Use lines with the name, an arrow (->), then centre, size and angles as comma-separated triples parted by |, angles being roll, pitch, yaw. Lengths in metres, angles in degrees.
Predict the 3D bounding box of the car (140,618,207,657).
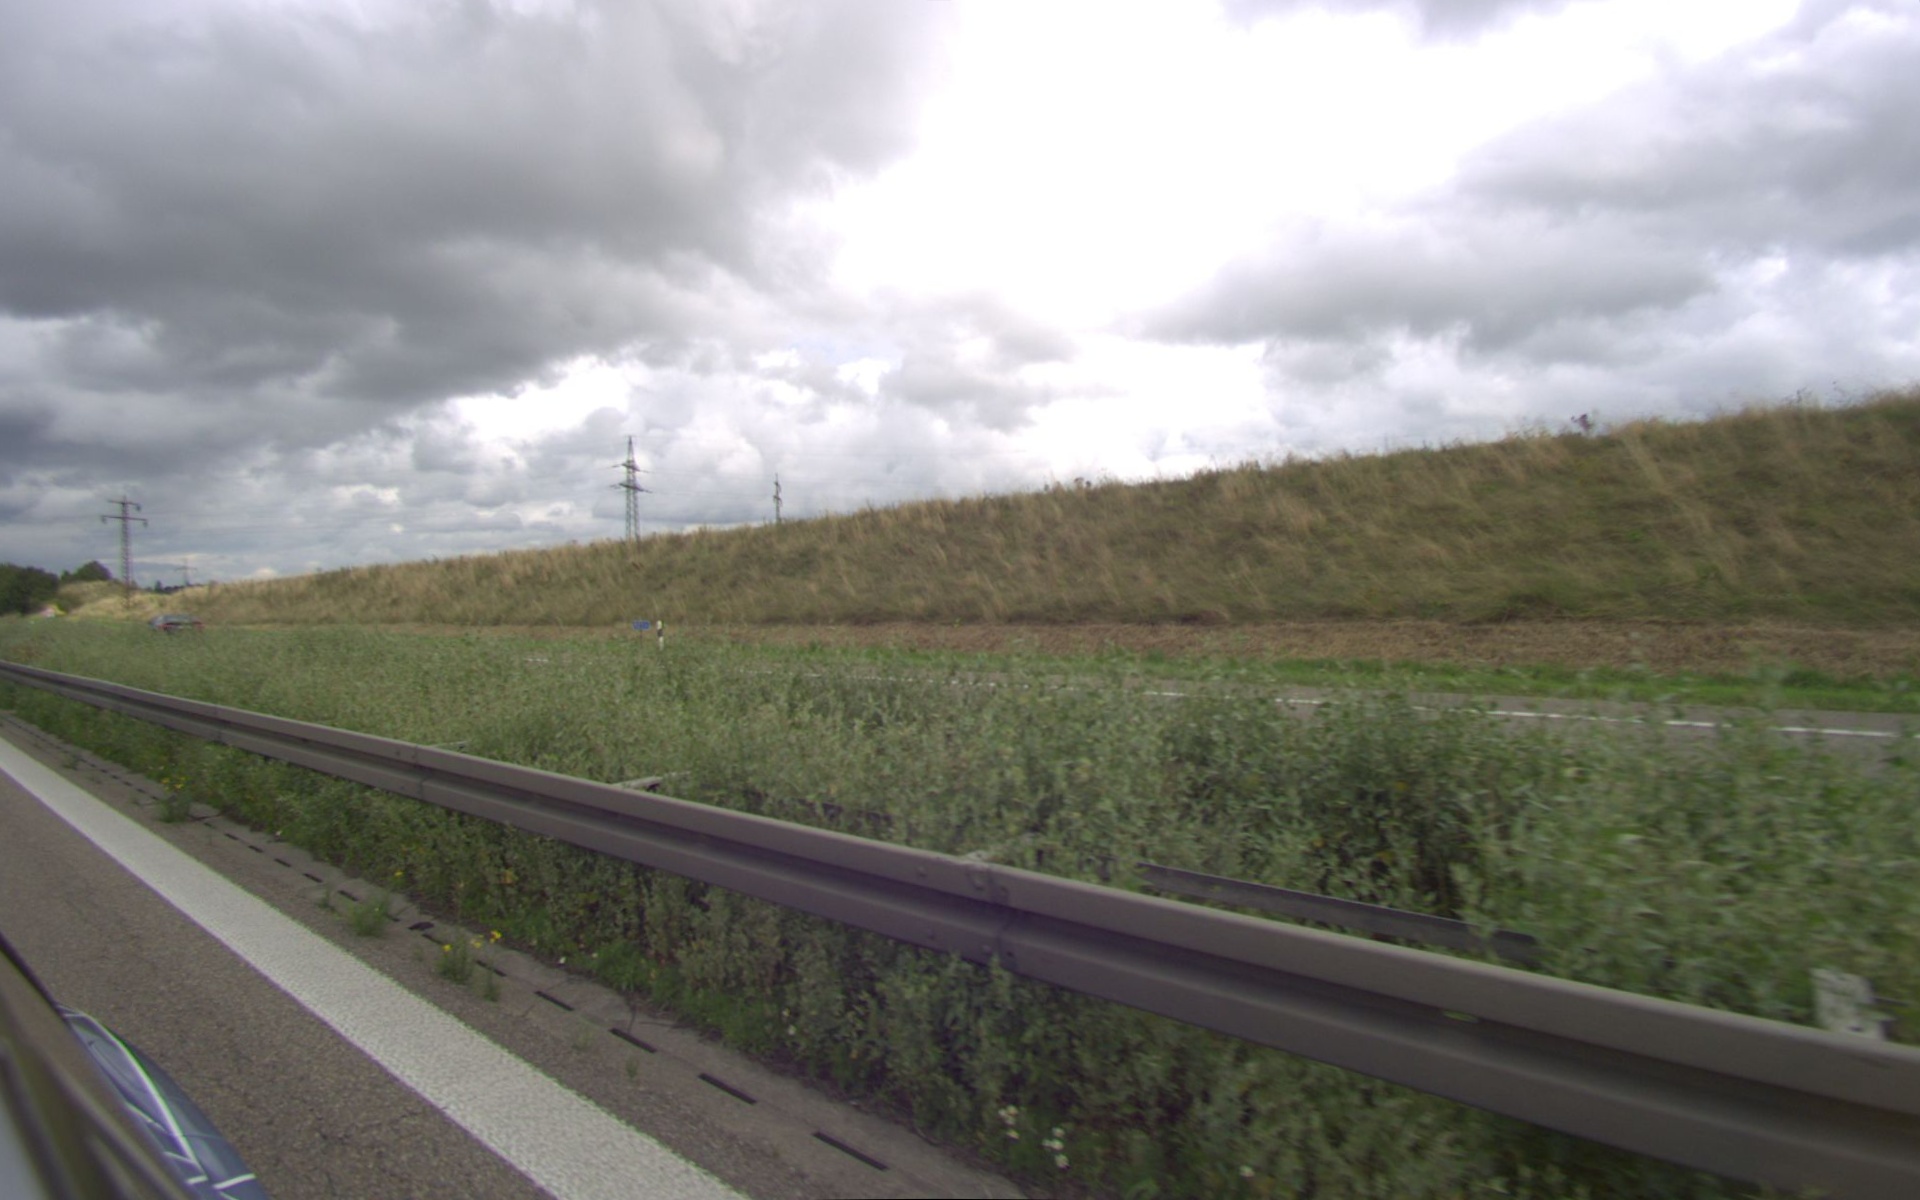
car -> -37.161, 1.724, 47.765 | 3.999, 1.715, 1.797 | -1, 0, 42
